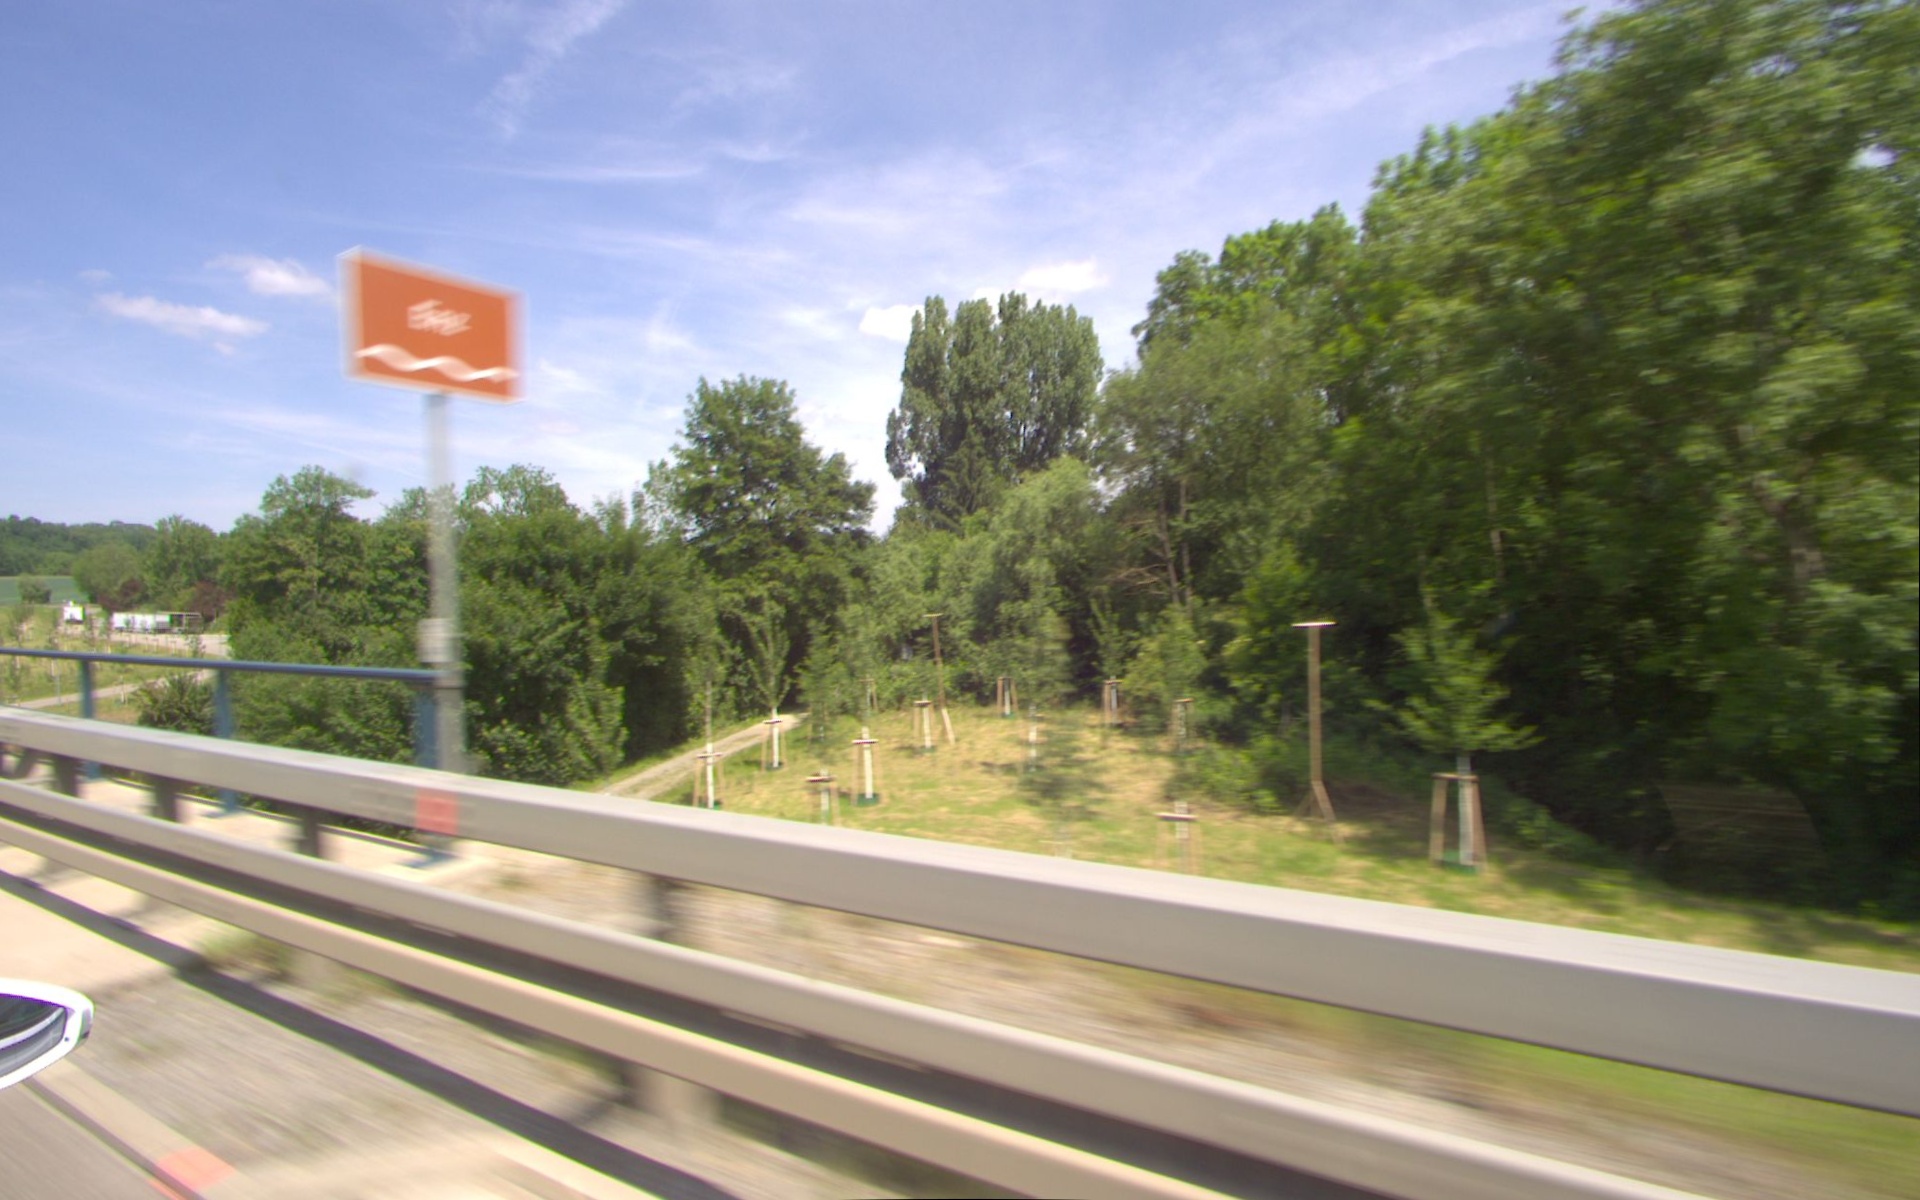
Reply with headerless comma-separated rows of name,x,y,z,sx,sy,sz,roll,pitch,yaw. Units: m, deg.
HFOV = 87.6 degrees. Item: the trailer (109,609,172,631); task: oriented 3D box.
trailer,-138.523,3.409,169.182,11.686,3.372,2.722,1,0,20
